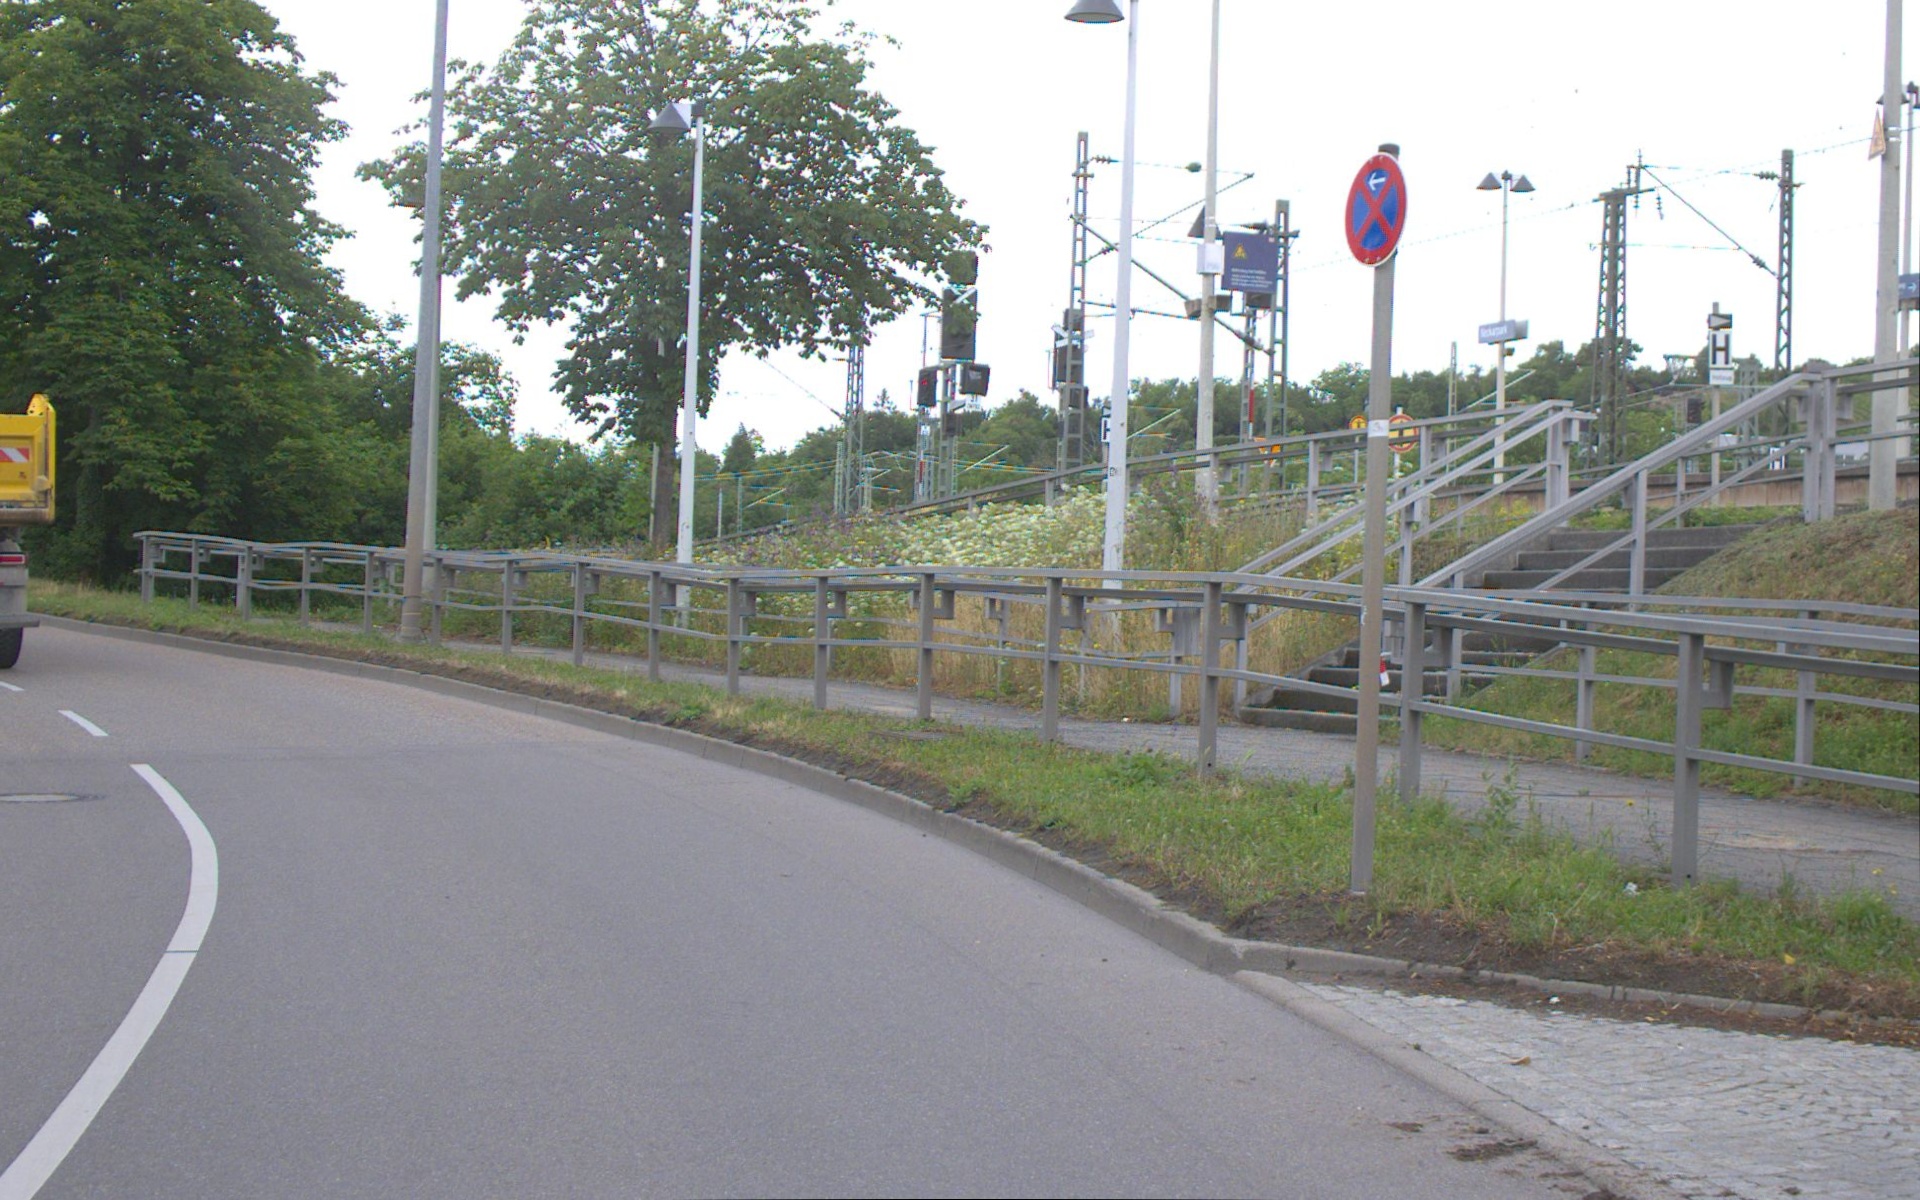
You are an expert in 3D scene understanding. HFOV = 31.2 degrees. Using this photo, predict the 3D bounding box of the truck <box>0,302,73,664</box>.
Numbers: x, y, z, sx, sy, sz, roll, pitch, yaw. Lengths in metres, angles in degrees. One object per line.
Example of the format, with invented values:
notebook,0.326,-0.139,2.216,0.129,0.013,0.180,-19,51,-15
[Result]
truck,-11.799,-1.274,36.212,2.764,3.471,8.130,0,2,-29
